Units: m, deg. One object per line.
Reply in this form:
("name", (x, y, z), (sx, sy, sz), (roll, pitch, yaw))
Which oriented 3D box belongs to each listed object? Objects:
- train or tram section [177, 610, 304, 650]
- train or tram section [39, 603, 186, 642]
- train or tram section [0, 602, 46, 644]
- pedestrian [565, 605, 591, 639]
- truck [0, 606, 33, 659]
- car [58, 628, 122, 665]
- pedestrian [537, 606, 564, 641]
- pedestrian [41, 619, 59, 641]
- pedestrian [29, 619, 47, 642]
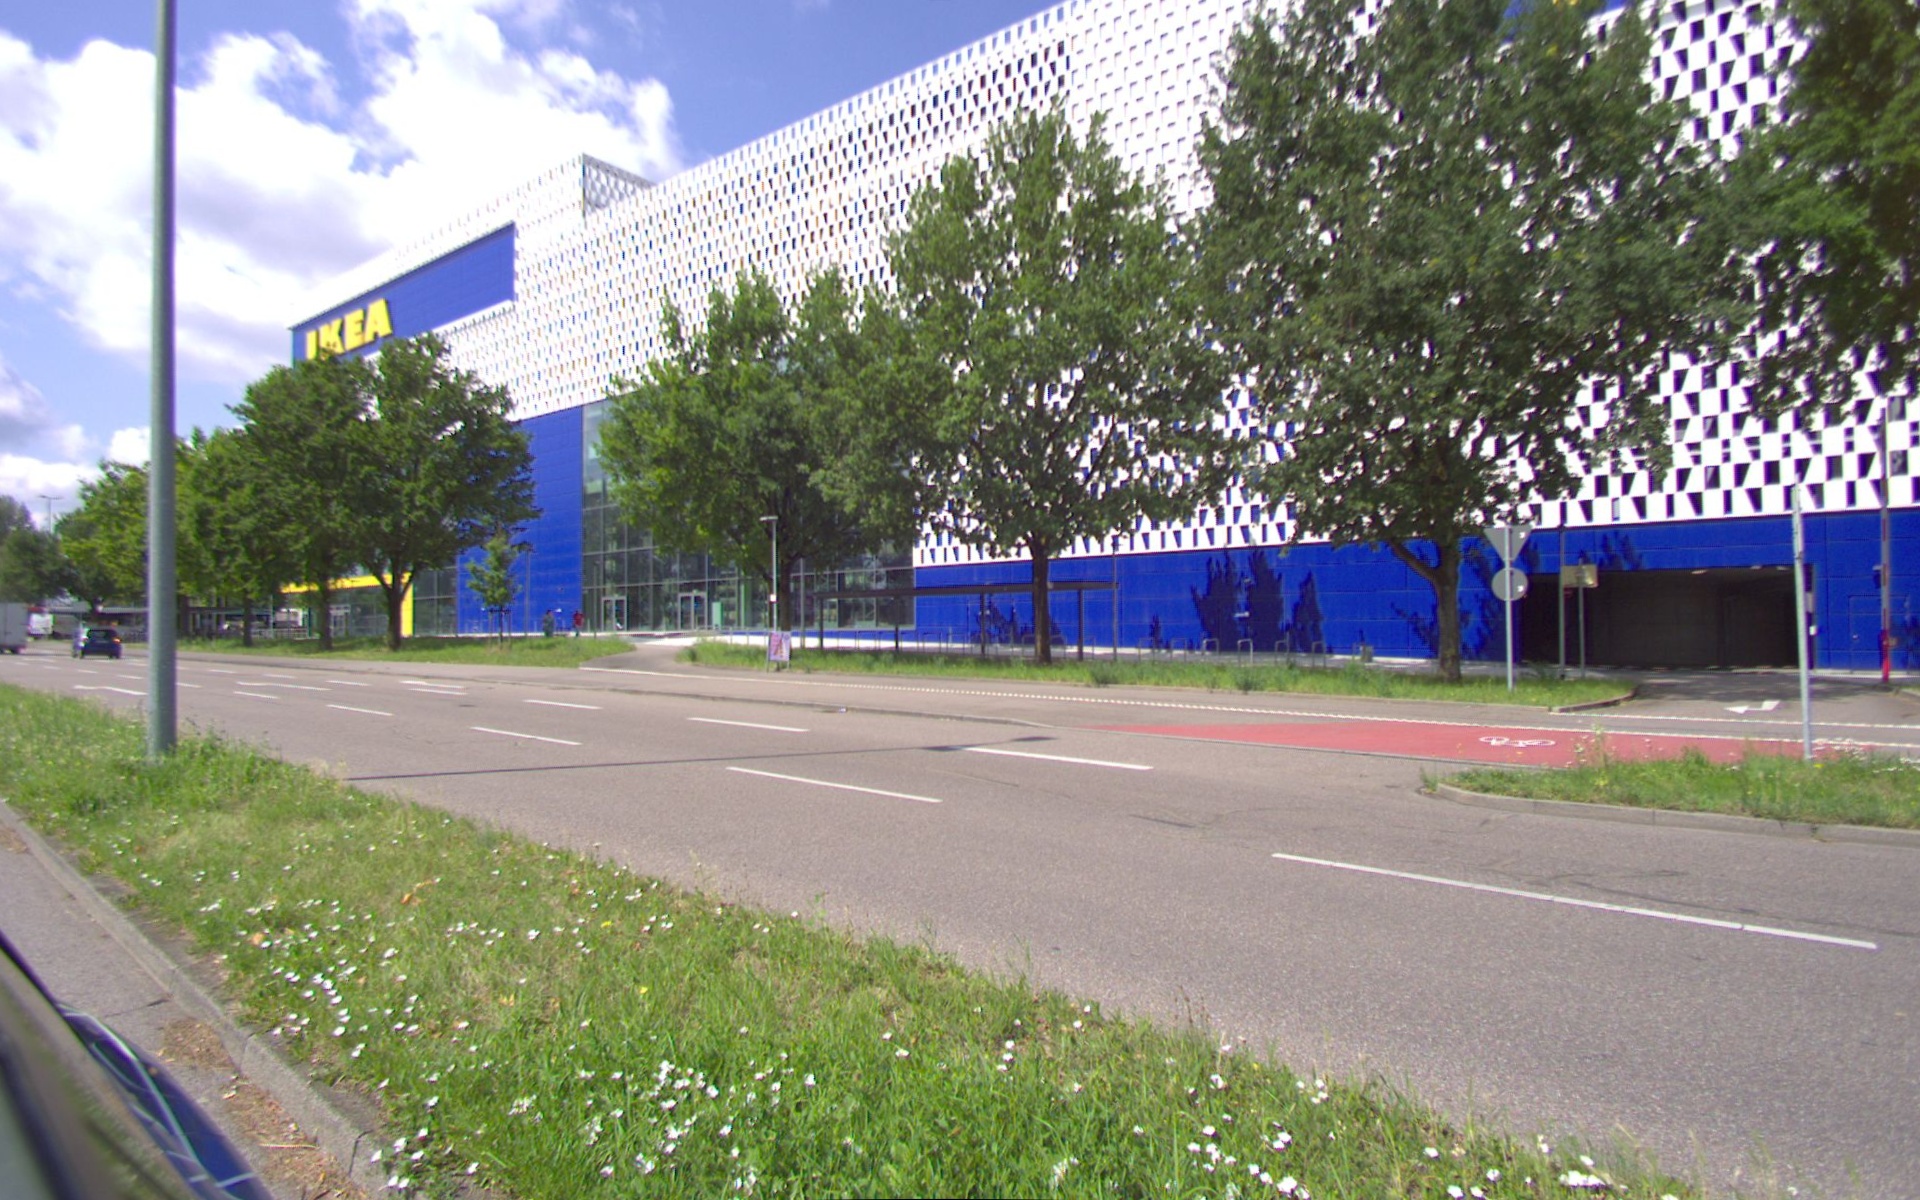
("train or tram section", (-92.956, 3.727, 131.090), (3.727, 4.708, 12.938), (-1, 0, 38))
("train or tram section", (-101.004, 2.798, 120.915), (3.727, 4.404, 12.937), (-1, -2, 38))
("train or tram section", (-108.971, 2.644, 110.730), (3.727, 4.595, 12.938), (-1, 0, 38))
("pedestrian", (-19.790, 1.147, 52.409), (1.165, 1.741, 0.842), (-1, 0, 43))
("truck", (-53.329, 1.755, 55.444), (5.777, 2.773, 2.936), (-1, 0, 39))
("car", (-44.023, 2.318, 51.182), (3.998, 1.696, 1.916), (-1, 0, 41))
("pedestrian", (-20.816, 1.201, 51.440), (1.165, 1.741, 0.842), (-1, 0, 43))
("pedestrian", (-86.206, 2.834, 95.852), (0.807, 2.110, 1.041), (-1, 0, -8))
("pedestrian", (-87.135, 2.846, 95.692), (0.807, 2.110, 1.041), (-1, 0, -8))
